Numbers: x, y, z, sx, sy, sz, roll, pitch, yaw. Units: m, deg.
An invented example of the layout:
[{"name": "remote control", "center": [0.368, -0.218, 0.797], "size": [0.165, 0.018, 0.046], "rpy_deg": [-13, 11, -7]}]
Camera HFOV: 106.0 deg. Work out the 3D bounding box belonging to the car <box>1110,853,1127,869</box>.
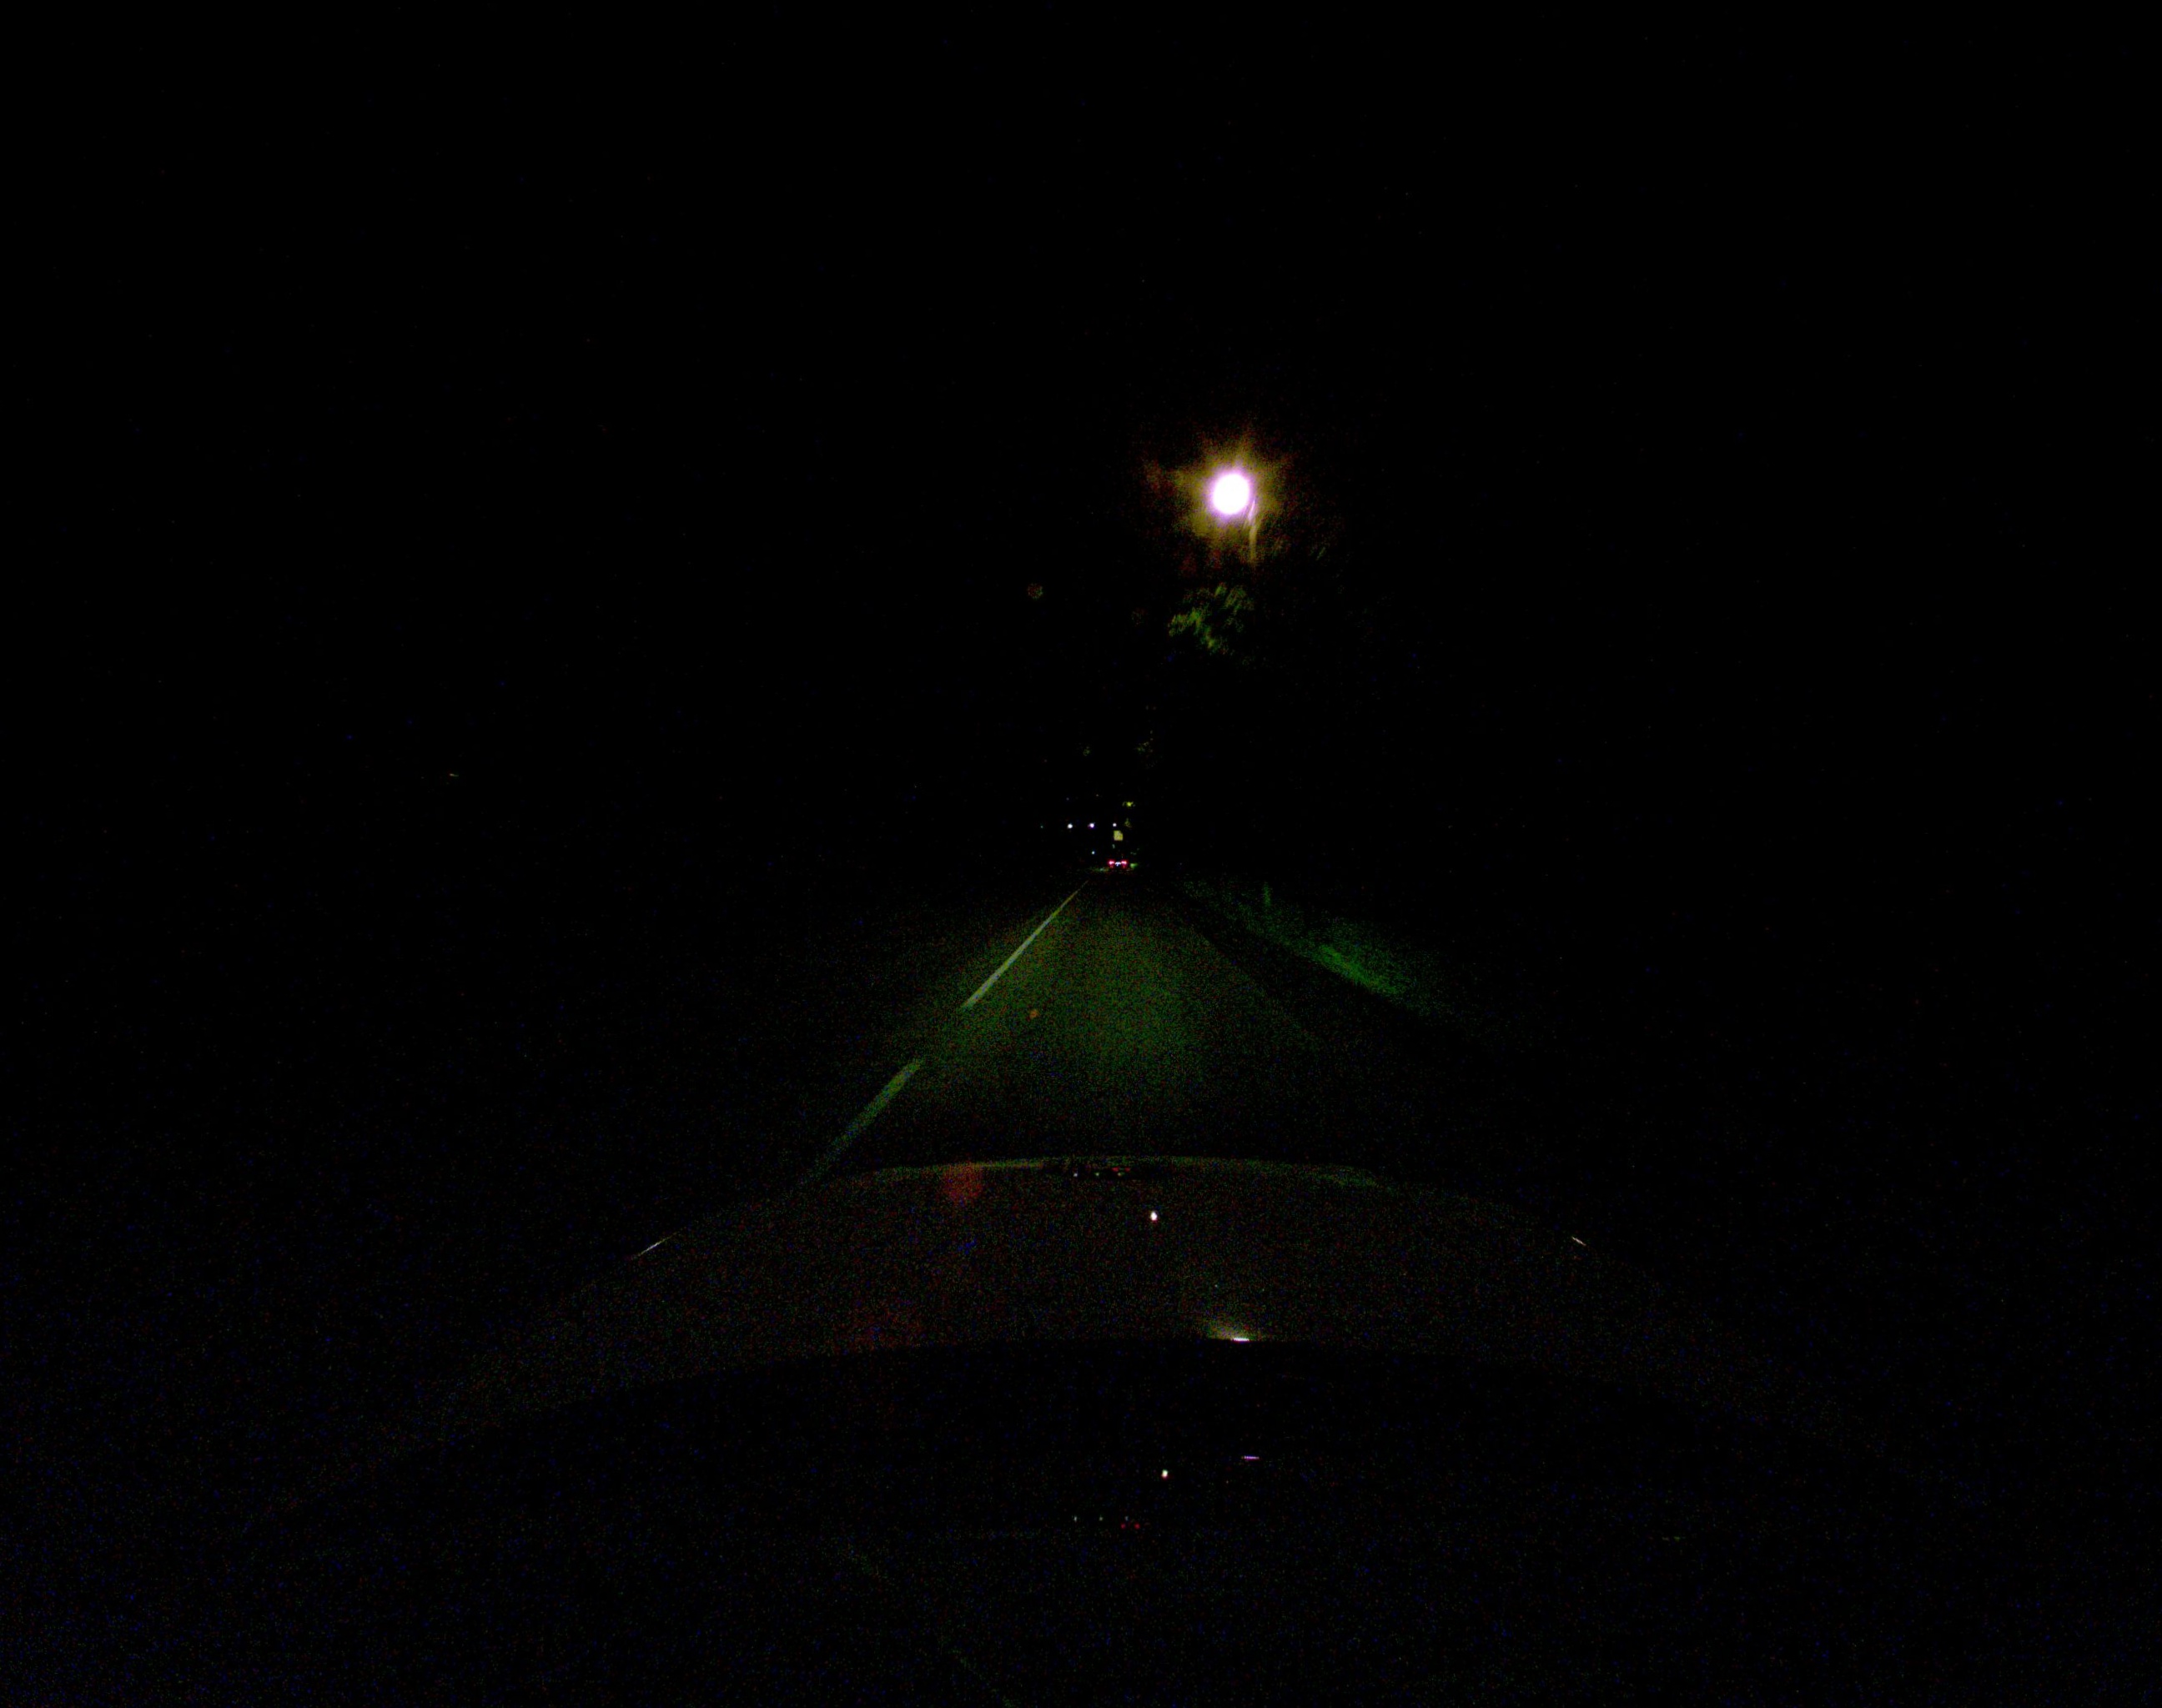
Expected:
[{"name": "car", "center": [3.989, 0.741, 85.633], "size": [1.755, 1.641, 3.726], "rpy_deg": [-1, 0, 3]}]
